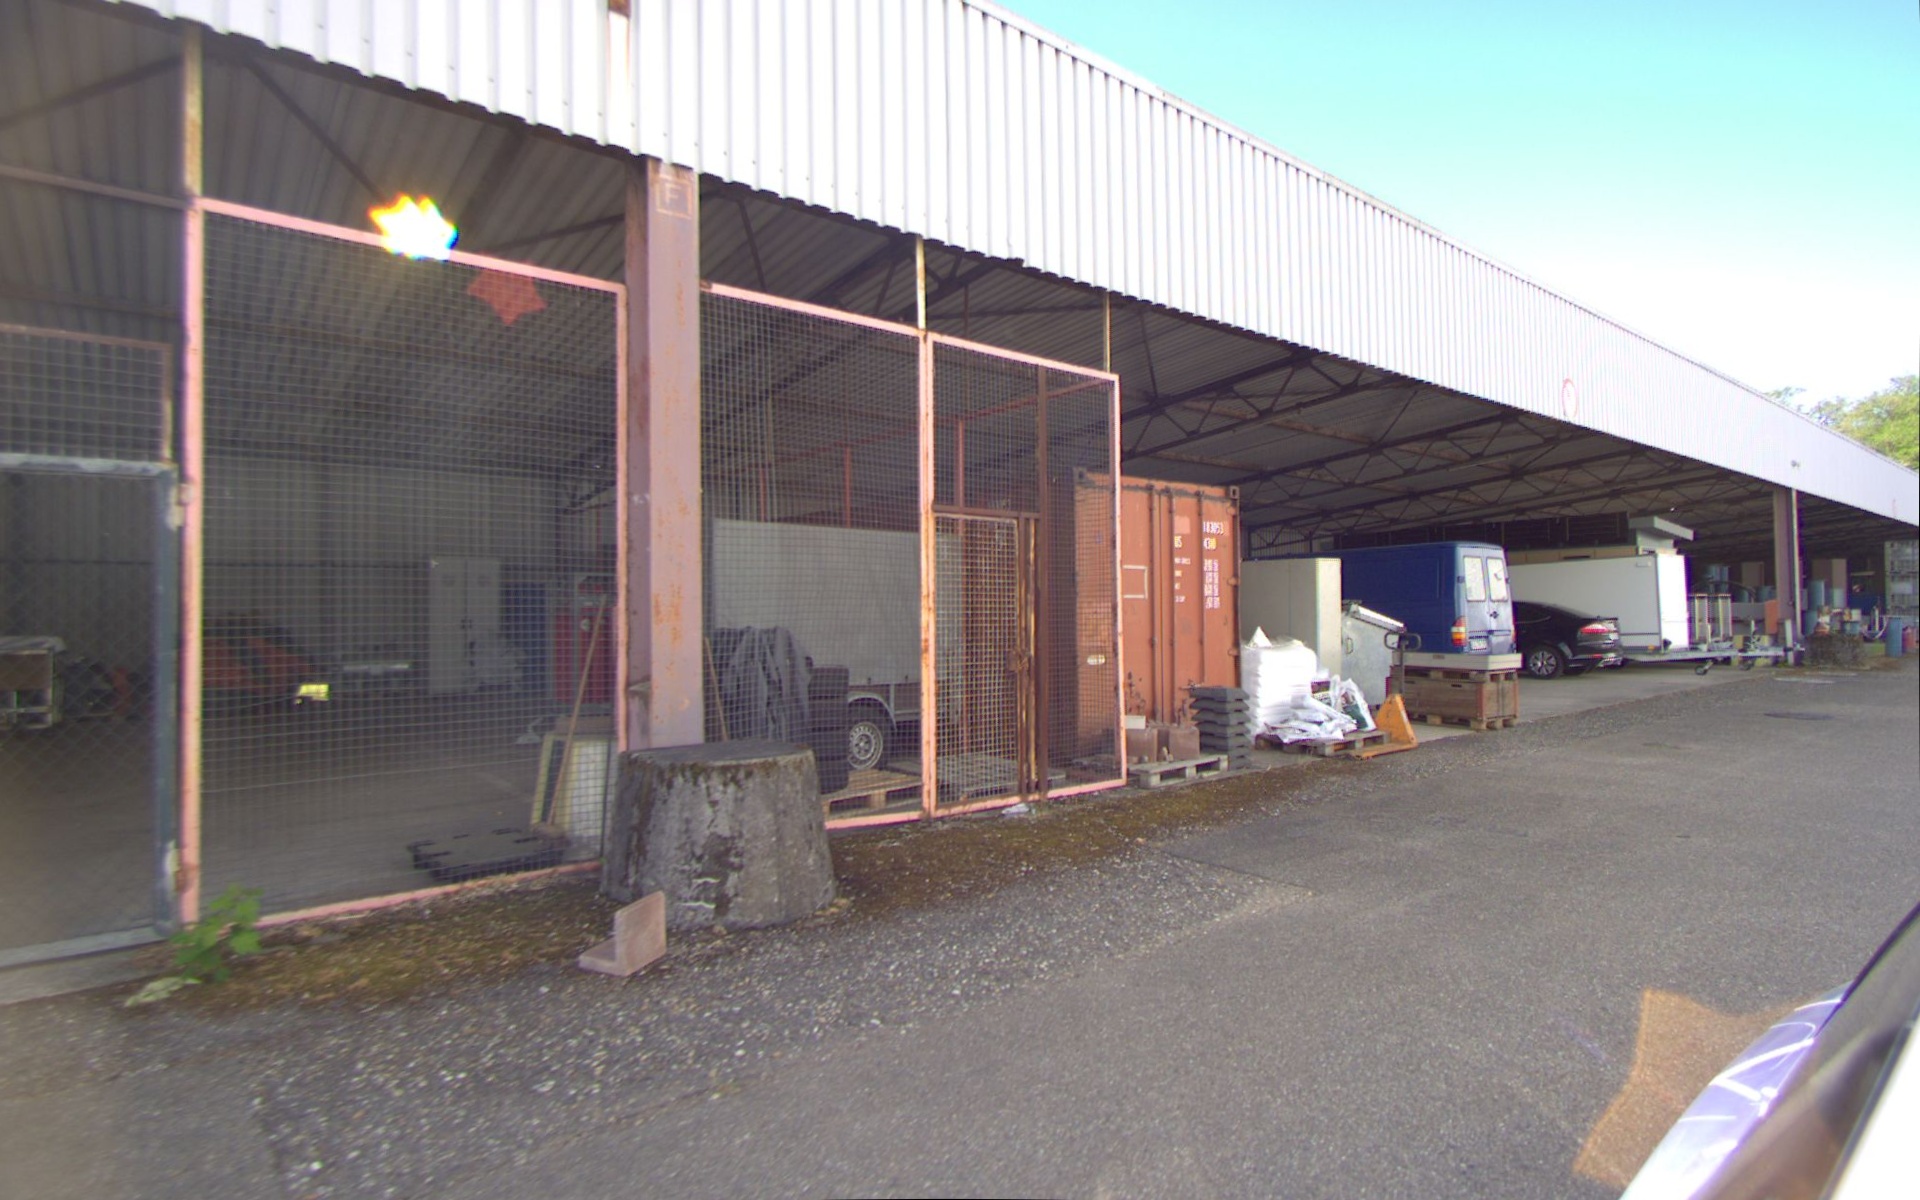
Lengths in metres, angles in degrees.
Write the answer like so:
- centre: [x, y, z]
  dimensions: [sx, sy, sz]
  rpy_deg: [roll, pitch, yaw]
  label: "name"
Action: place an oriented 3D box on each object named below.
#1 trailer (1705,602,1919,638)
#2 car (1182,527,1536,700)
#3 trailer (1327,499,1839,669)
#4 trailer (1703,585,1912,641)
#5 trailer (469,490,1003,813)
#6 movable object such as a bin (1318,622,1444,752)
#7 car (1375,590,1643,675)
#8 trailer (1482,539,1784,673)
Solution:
- centre: [29.508, 0.666, 34.902]
  dimensions: [1.993, 1.134, 5.833]
  rpy_deg: [0, -1, -40]
  label: "trailer"
- centre: [6.191, 0.215, 16.312]
  dimensions: [1.964, 2.355, 4.989]
  rpy_deg: [0, -1, -38]
  label: "car"
- centre: [14.099, -0.276, 24.159]
  dimensions: [2.802, 3.257, 10.058]
  rpy_deg: [0, 0, -39]
  label: "trailer"
- centre: [27.157, 0.404, 32.583]
  dimensions: [1.993, 1.649, 4.876]
  rpy_deg: [0, 0, -40]
  label: "trailer"
- centre: [-1.736, 0.330, 8.557]
  dimensions: [4.027, 2.085, 1.858]
  rpy_deg: [0, -1, -41]
  label: "trailer"
- centre: [4.144, 0.817, 9.940]
  dimensions: [1.214, 1.179, 0.583]
  rpy_deg: [0, -1, -35]
  label: "movable object such as a bin"
- centre: [10.754, 0.590, 20.088]
  dimensions: [1.746, 1.515, 4.335]
  rpy_deg: [0, -1, -41]
  label: "car"
- centre: [13.594, 0.125, 20.790]
  dimensions: [1.792, 2.421, 4.828]
  rpy_deg: [0, -1, -34]
  label: "trailer"
